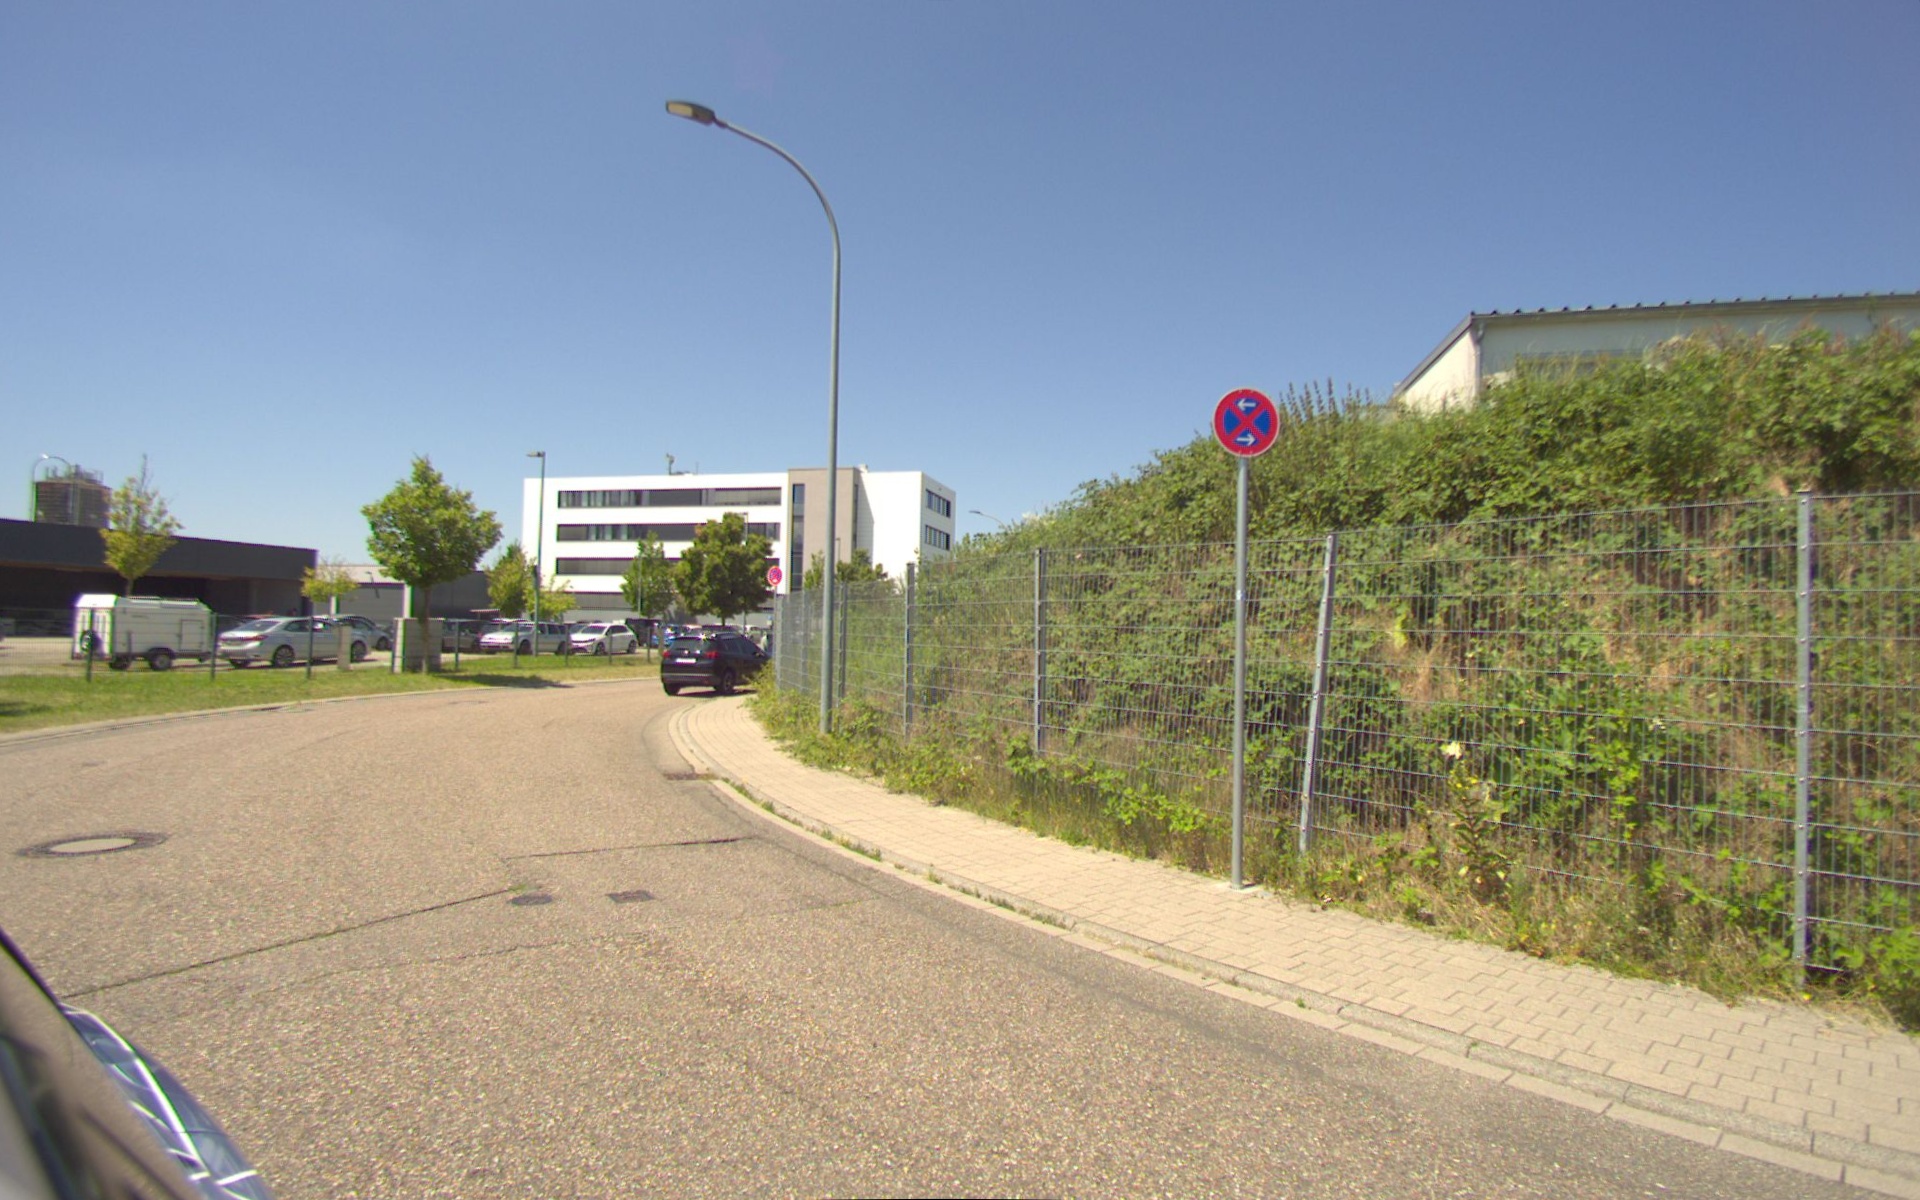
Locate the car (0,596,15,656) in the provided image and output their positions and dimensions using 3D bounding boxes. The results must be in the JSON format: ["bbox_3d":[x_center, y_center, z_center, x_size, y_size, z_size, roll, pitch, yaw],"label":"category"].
[{"bbox_3d":[-37.179,0.900,35.430,2.123,2.241,5.809,1,-1,13],"label":"car"}]

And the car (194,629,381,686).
[{"bbox_3d":[-20.539,1.701,31.214,1.838,1.510,4.833,0,0,15],"label":"car"}]

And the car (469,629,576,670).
[{"bbox_3d":[-17.895,2.073,41.614,1.836,1.510,4.271,0,-5,13],"label":"car"}]

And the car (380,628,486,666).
[{"bbox_3d":[-22.473,2.022,43.315,1.838,1.510,3.904,0,-3,16],"label":"car"}]

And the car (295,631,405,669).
[{"bbox_3d":[-27.070,2.257,45.056,1.838,1.510,3.904,1,-4,16],"label":"car"}]

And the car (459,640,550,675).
[{"bbox_3d":[-21.554,2.764,48.074,1.838,1.510,3.904,1,-4,16],"label":"car"}]

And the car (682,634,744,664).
[{"bbox_3d":[-14.127,2.815,58.068,1.815,1.586,3.906,1,-3,15],"label":"car"}]

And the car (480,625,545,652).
[{"bbox_3d":[-29.651,2.583,67.125,1.816,1.549,3.903,-2,-6,16],"label":"car"}]

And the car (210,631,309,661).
[{"bbox_3d":[-36.193,2.396,52.383,1.838,1.510,3.904,0,-3,16],"label":"car"}]

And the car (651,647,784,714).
[{"bbox_3d":[-6.143,2.026,26.167,1.643,1.567,4.114,0,-3,14],"label":"car"}]

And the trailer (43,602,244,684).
[{"bbox_3d":[-21.641,1.212,27.016,1.838,2.014,3.720,0,-4,15],"label":"trailer"}]

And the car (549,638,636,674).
[{"bbox_3d":[-16.962,2.551,46.890,1.838,1.510,3.905,0,-1,16],"label":"car"}]

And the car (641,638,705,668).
[{"bbox_3d":[-16.595,3.103,58.717,1.815,1.466,3.906,-2,-6,14],"label":"car"}]

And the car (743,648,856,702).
[{"bbox_3d":[-4.820,2.251,30.965,1.922,1.466,4.263,1,-3,13],"label":"car"}]

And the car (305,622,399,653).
[{"bbox_3d":[-30.734,1.868,51.274,1.838,1.510,3.904,0,-1,16],"label":"car"}]

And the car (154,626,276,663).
[{"bbox_3d":[-34.448,2.083,46.930,1.950,1.644,4.231,0,-3,16],"label":"car"}]

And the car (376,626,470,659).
[{"bbox_3d":[-25.969,2.106,49.104,1.838,1.510,3.904,0,-3,16],"label":"car"}]
